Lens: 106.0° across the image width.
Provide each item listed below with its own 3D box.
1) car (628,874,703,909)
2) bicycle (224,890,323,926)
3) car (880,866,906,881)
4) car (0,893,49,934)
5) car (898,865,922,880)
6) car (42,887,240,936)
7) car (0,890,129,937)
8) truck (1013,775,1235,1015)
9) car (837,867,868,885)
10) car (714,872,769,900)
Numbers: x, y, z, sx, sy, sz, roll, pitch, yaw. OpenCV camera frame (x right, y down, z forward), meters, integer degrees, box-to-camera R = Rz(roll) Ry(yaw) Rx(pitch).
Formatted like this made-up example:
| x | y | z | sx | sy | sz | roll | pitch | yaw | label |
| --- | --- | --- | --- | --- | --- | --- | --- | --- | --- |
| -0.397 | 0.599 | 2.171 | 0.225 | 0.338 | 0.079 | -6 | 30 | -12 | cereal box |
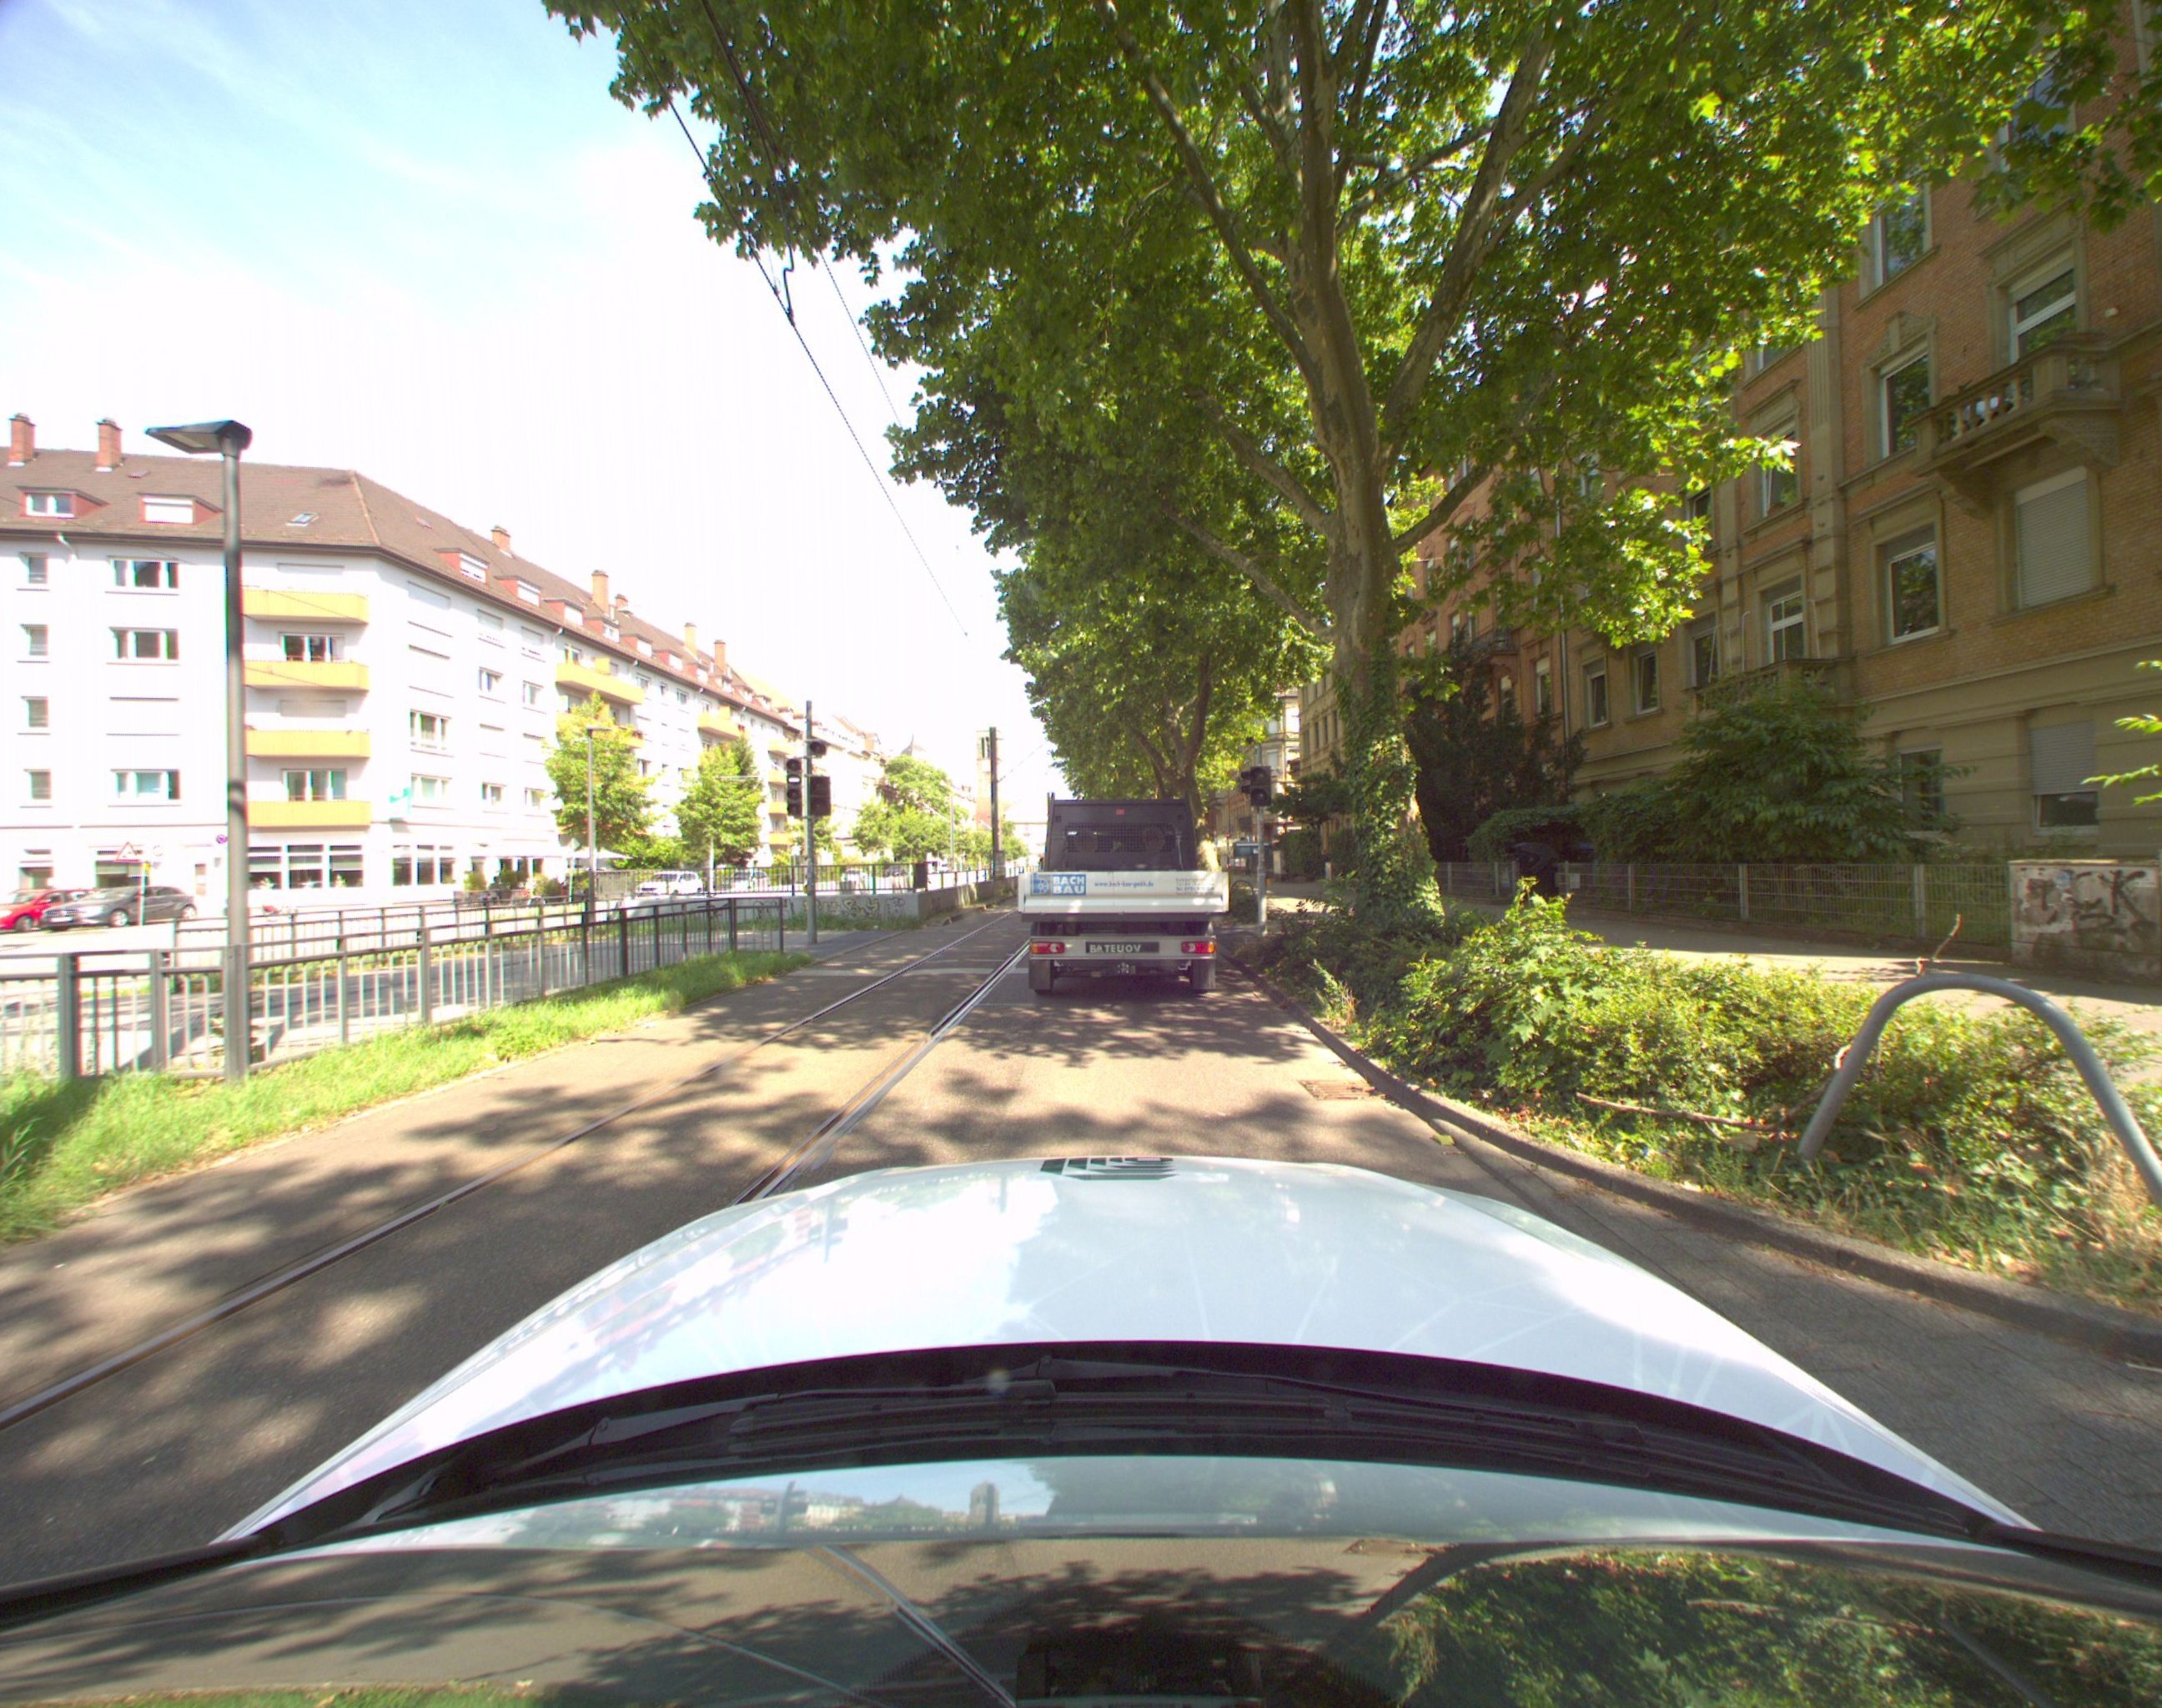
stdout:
| x | y | z | sx | sy | sz | roll | pitch | yaw | label |
| --- | --- | --- | --- | --- | --- | --- | --- | --- | --- |
| -20.510 | 1.792 | 40.392 | 1.767 | 1.498 | 3.994 | -3 | 0 | -4 | car |
| -30.095 | 1.987 | 30.434 | 0.908 | 1.137 | 2.807 | -2 | -1 | -1 | bicycle |
| -19.352 | 2.000 | 83.980 | 1.764 | 1.498 | 4.000 | -2 | -1 | 1 | car |
| -39.310 | 2.149 | 28.245 | 1.929 | 1.406 | 4.158 | -2 | 0 | -6 | car |
| -19.257 | 2.071 | 91.820 | 1.764 | 1.498 | 4.000 | -2 | -1 | 1 | car |
| -33.162 | 1.982 | 28.976 | 1.830 | 1.376 | 4.637 | -2 | 0 | -4 | car |
| -36.522 | 2.068 | 28.409 | 1.929 | 1.406 | 4.158 | -2 | 0 | -6 | car |
| 0.527 | 0.418 | 10.179 | 2.130 | 2.319 | 4.404 | -1 | -1 | 3 | truck |
| -19.734 | 1.881 | 70.594 | 1.767 | 1.498 | 3.994 | -1 | -1 | -4 | car |
| -20.263 | 1.867 | 48.762 | 1.767 | 1.498 | 3.994 | -3 | 0 | -4 | car |
